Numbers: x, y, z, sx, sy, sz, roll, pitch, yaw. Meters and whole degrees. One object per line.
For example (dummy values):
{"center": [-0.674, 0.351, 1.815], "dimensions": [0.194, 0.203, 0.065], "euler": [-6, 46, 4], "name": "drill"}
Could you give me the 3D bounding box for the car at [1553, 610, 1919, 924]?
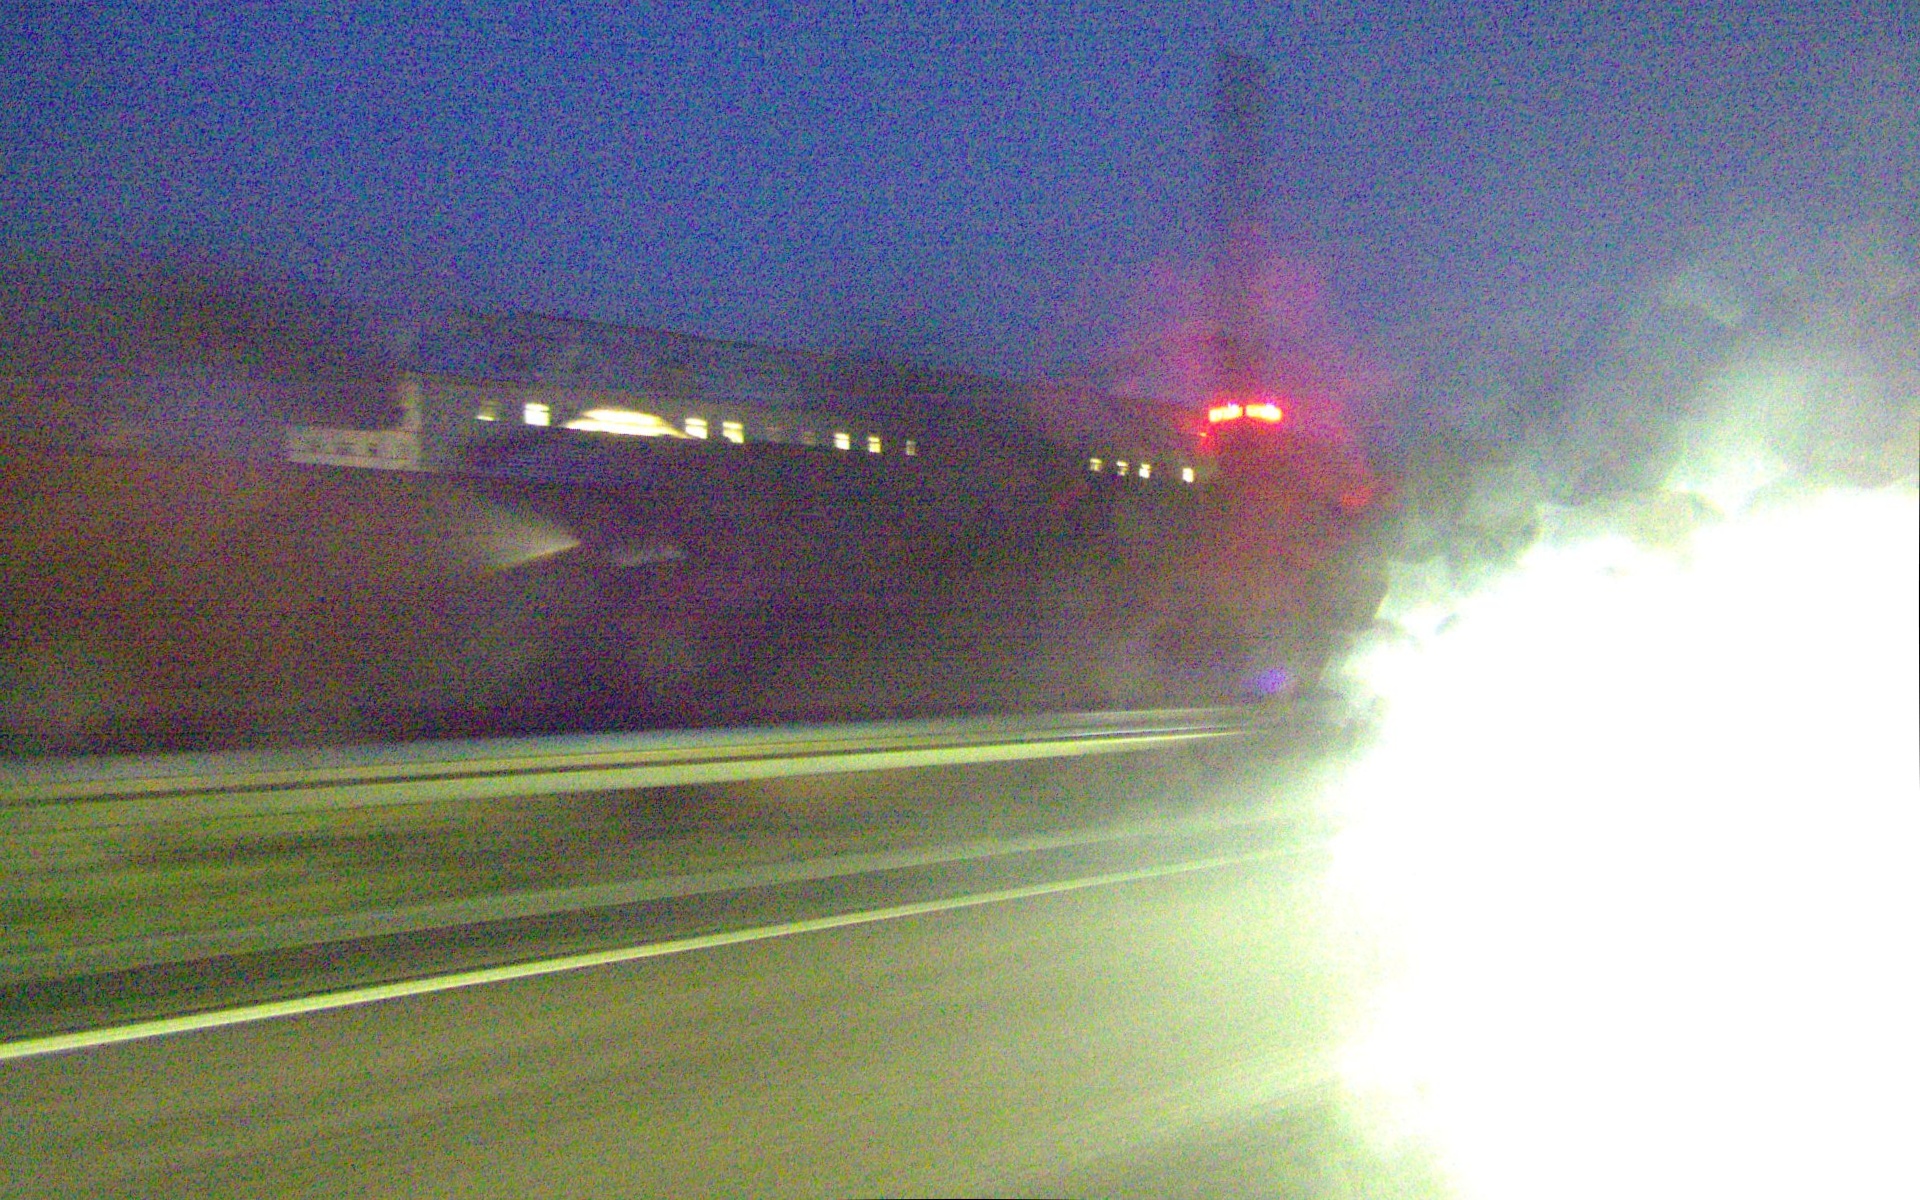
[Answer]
{"center": [5.978, 0.867, 6.688], "dimensions": [4.023, 1.502, 1.823], "euler": [1, 0, -31], "name": "car"}
